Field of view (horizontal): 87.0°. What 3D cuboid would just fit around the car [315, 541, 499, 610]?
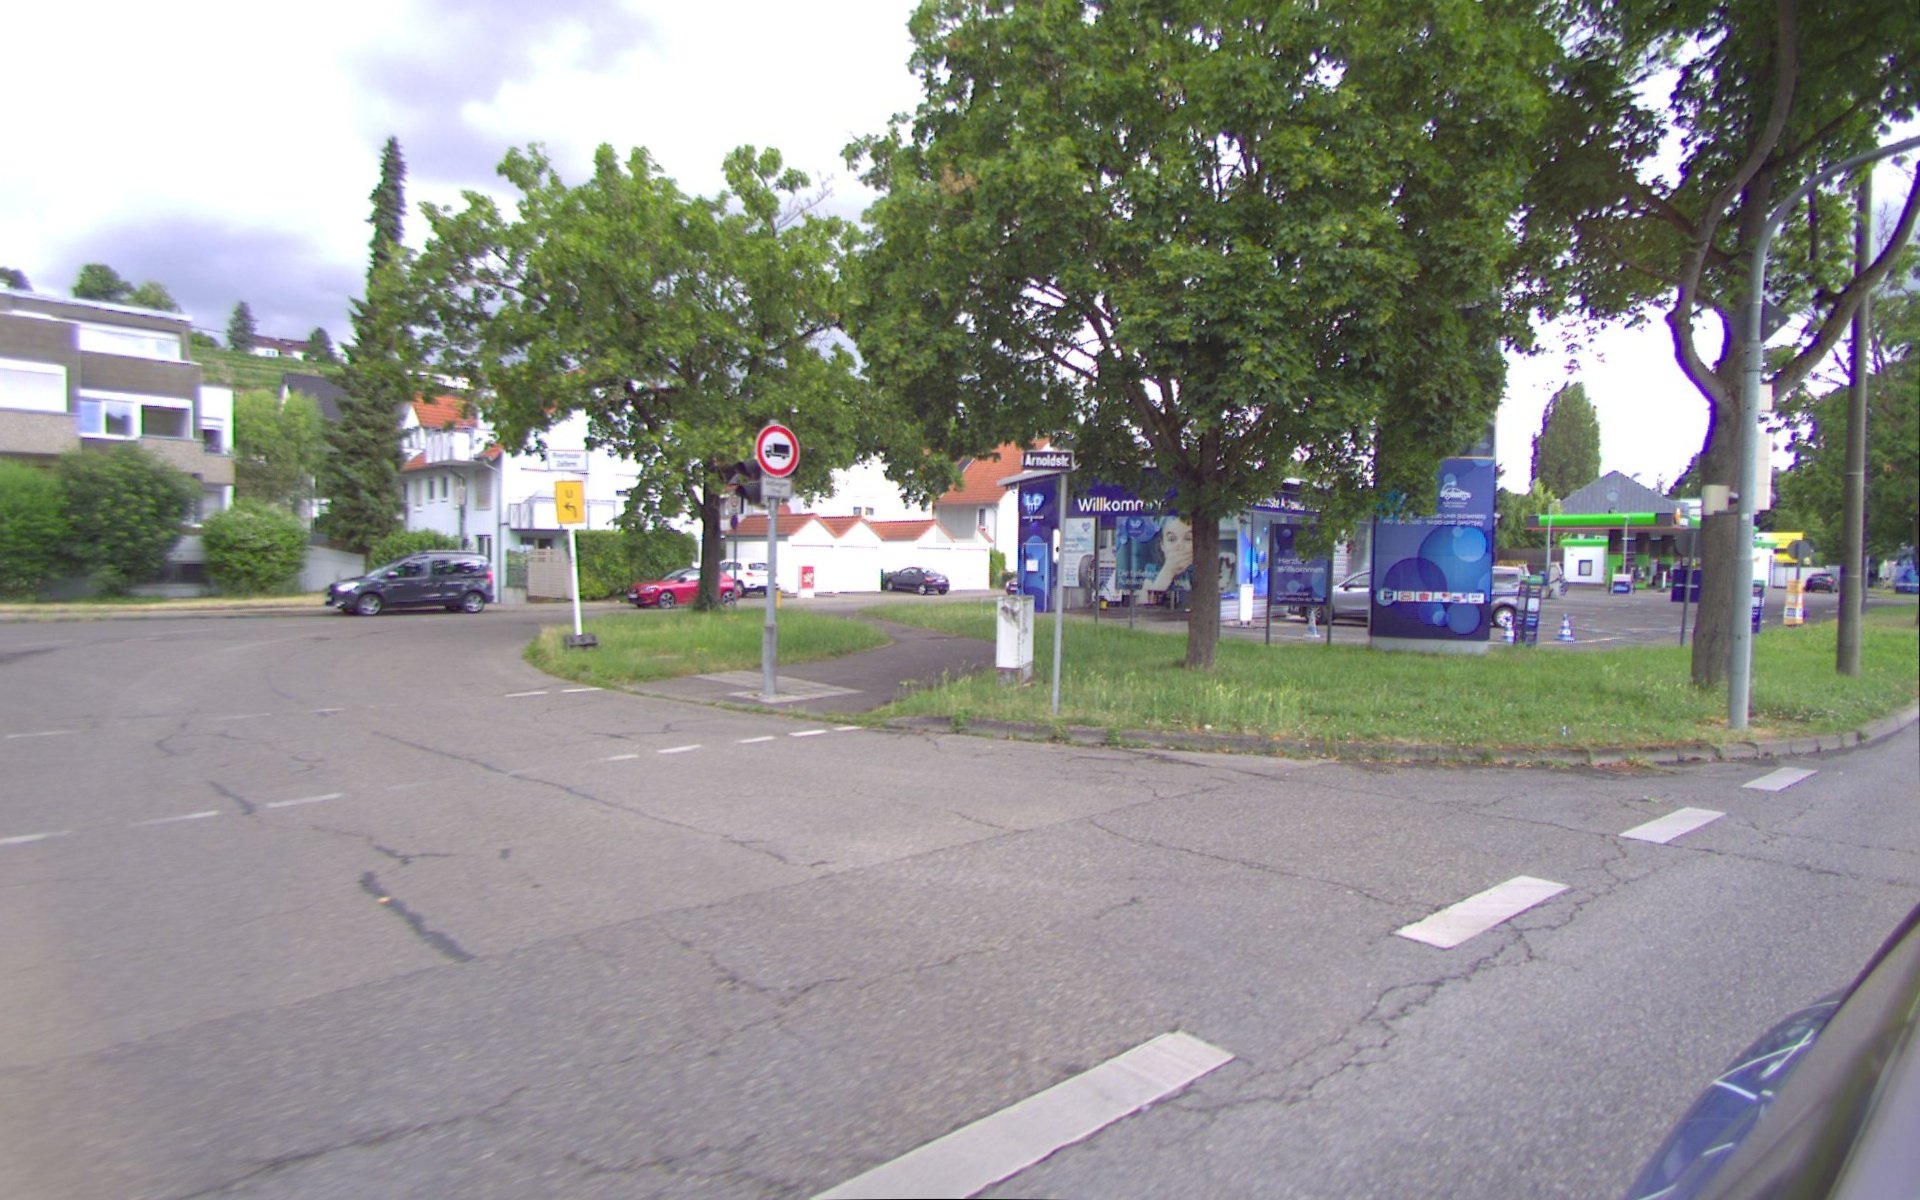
[{"bbox_3d":[-15.883,-0.694,29.222,1.717,1.865,4.339,-1,1,43],"label":"car"}]

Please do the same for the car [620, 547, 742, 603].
[{"bbox_3d":[-9.808,-0.865,35.744,1.616,1.865,3.861,-1,1,44],"label":"car"}]

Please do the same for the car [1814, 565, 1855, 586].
[{"bbox_3d":[75.445,-2.118,87.287,4.252,1.658,1.998,-1,6,-42],"label":"car"}]

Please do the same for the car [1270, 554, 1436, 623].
[{"bbox_3d":[11.122,-0.369,28.685,4.176,1.718,1.822,3,2,29],"label":"car"}]

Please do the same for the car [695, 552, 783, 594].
[{"bbox_3d":[-9.693,-1.149,44.243,3.798,1.716,1.891,0,1,42],"label":"car"}]

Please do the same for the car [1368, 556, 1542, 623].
[{"bbox_3d":[14.817,-0.350,30.492,4.307,1.843,1.749,2,2,6],"label":"car"}]

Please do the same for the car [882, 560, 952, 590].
[{"bbox_3d":[-2.232,-1.274,52.083,1.745,1.475,3.552,-1,1,-42],"label":"car"}]

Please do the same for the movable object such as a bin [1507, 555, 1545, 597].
[{"bbox_3d":[25.684,-1.093,45.915,1.159,1.841,1.432,3,3,44],"label":"movable object such as a bin"}]

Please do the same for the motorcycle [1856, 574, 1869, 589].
[{"bbox_3d":[72.938,-1.501,81.805,0.702,1.201,2.353,3,3,41],"label":"motorcycle"}]

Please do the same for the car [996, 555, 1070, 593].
[{"bbox_3d":[3.837,-1.315,52.586,1.935,1.865,4.200,-1,1,35],"label":"car"}]
